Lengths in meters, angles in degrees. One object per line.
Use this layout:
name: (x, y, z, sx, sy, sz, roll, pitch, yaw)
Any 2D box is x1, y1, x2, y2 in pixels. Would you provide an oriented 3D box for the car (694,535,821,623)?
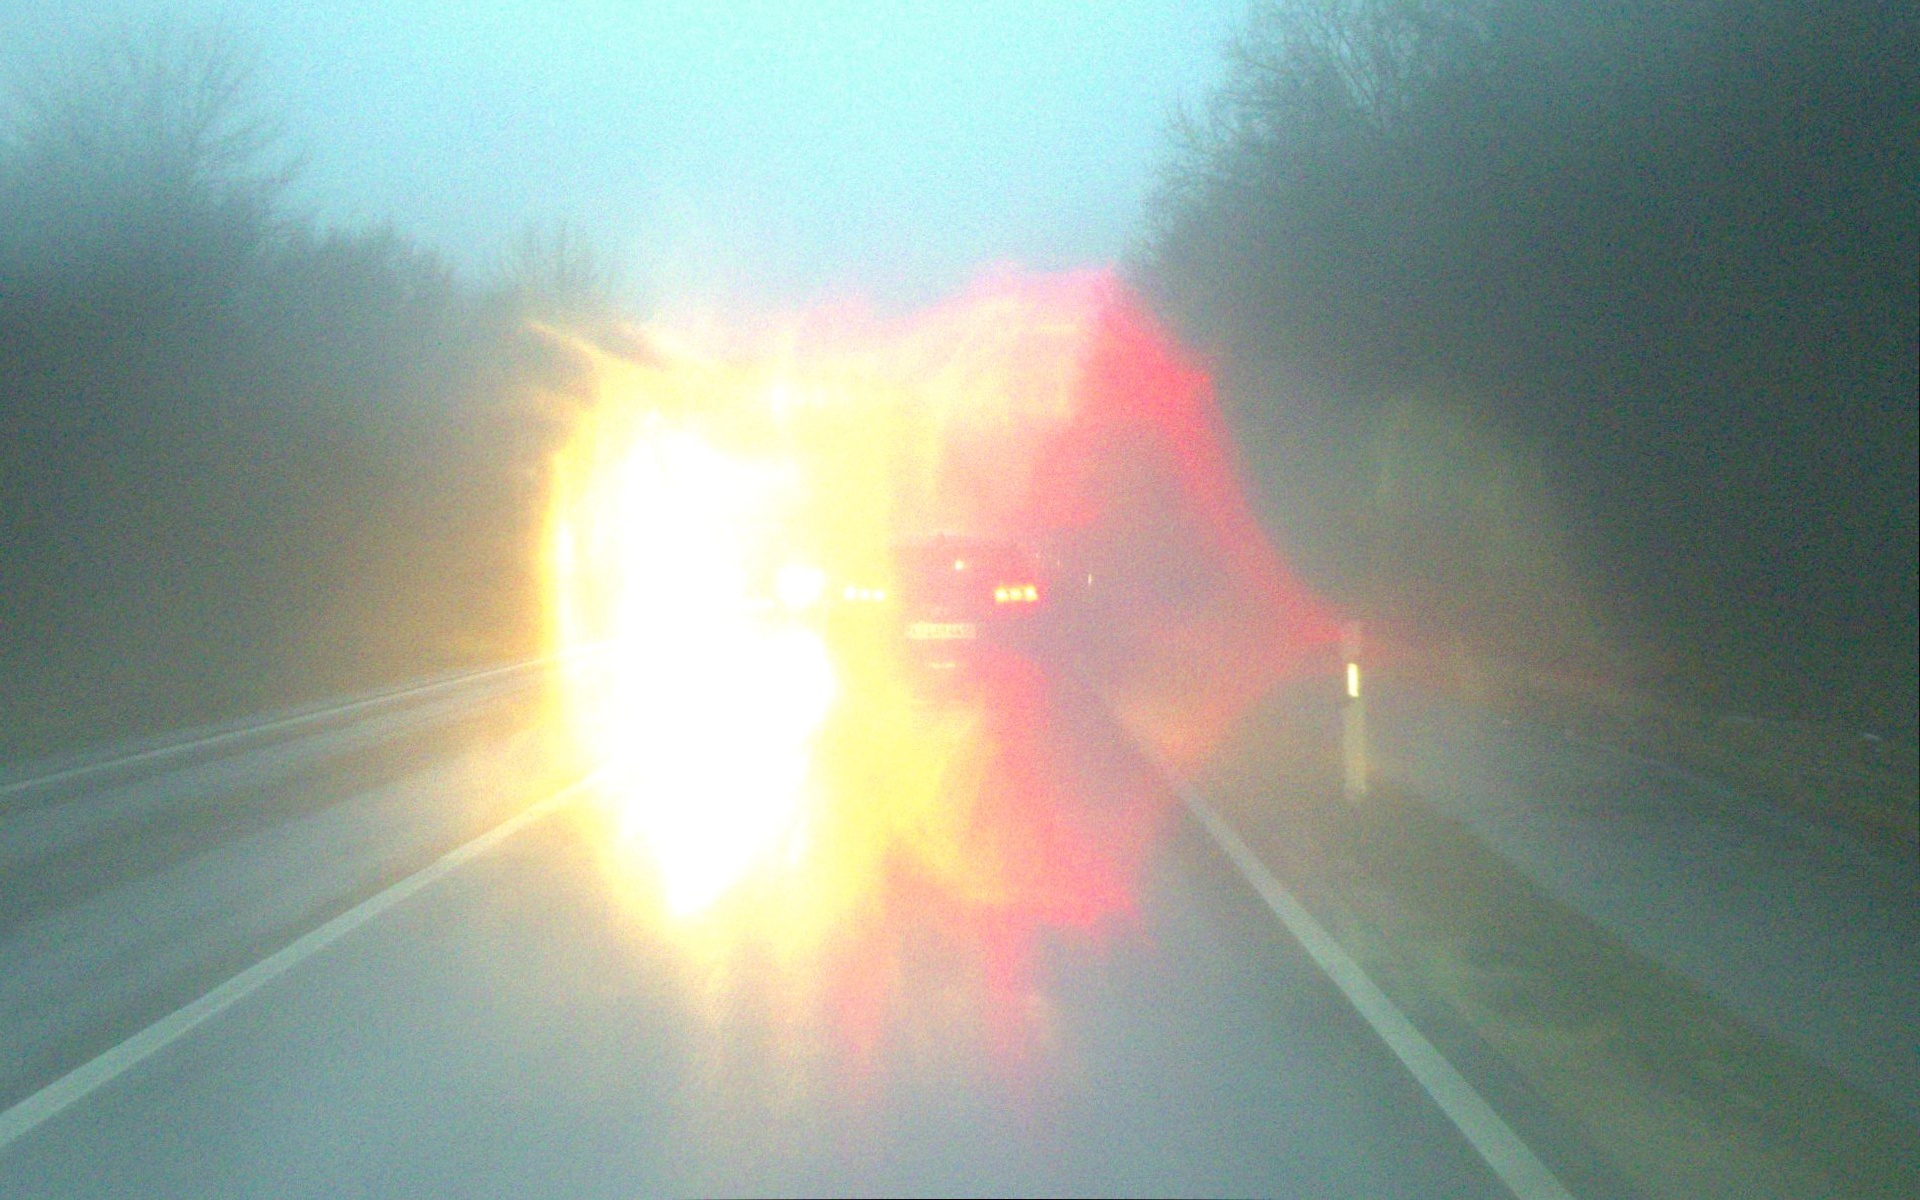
car: (-3.397, -0.372, 58.362, 1.814, 1.433, 4.098, 0, 1, 1)

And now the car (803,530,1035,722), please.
car: (-0.282, 0.161, 26.988, 1.678, 1.385, 4.098, 0, 1, 0)
